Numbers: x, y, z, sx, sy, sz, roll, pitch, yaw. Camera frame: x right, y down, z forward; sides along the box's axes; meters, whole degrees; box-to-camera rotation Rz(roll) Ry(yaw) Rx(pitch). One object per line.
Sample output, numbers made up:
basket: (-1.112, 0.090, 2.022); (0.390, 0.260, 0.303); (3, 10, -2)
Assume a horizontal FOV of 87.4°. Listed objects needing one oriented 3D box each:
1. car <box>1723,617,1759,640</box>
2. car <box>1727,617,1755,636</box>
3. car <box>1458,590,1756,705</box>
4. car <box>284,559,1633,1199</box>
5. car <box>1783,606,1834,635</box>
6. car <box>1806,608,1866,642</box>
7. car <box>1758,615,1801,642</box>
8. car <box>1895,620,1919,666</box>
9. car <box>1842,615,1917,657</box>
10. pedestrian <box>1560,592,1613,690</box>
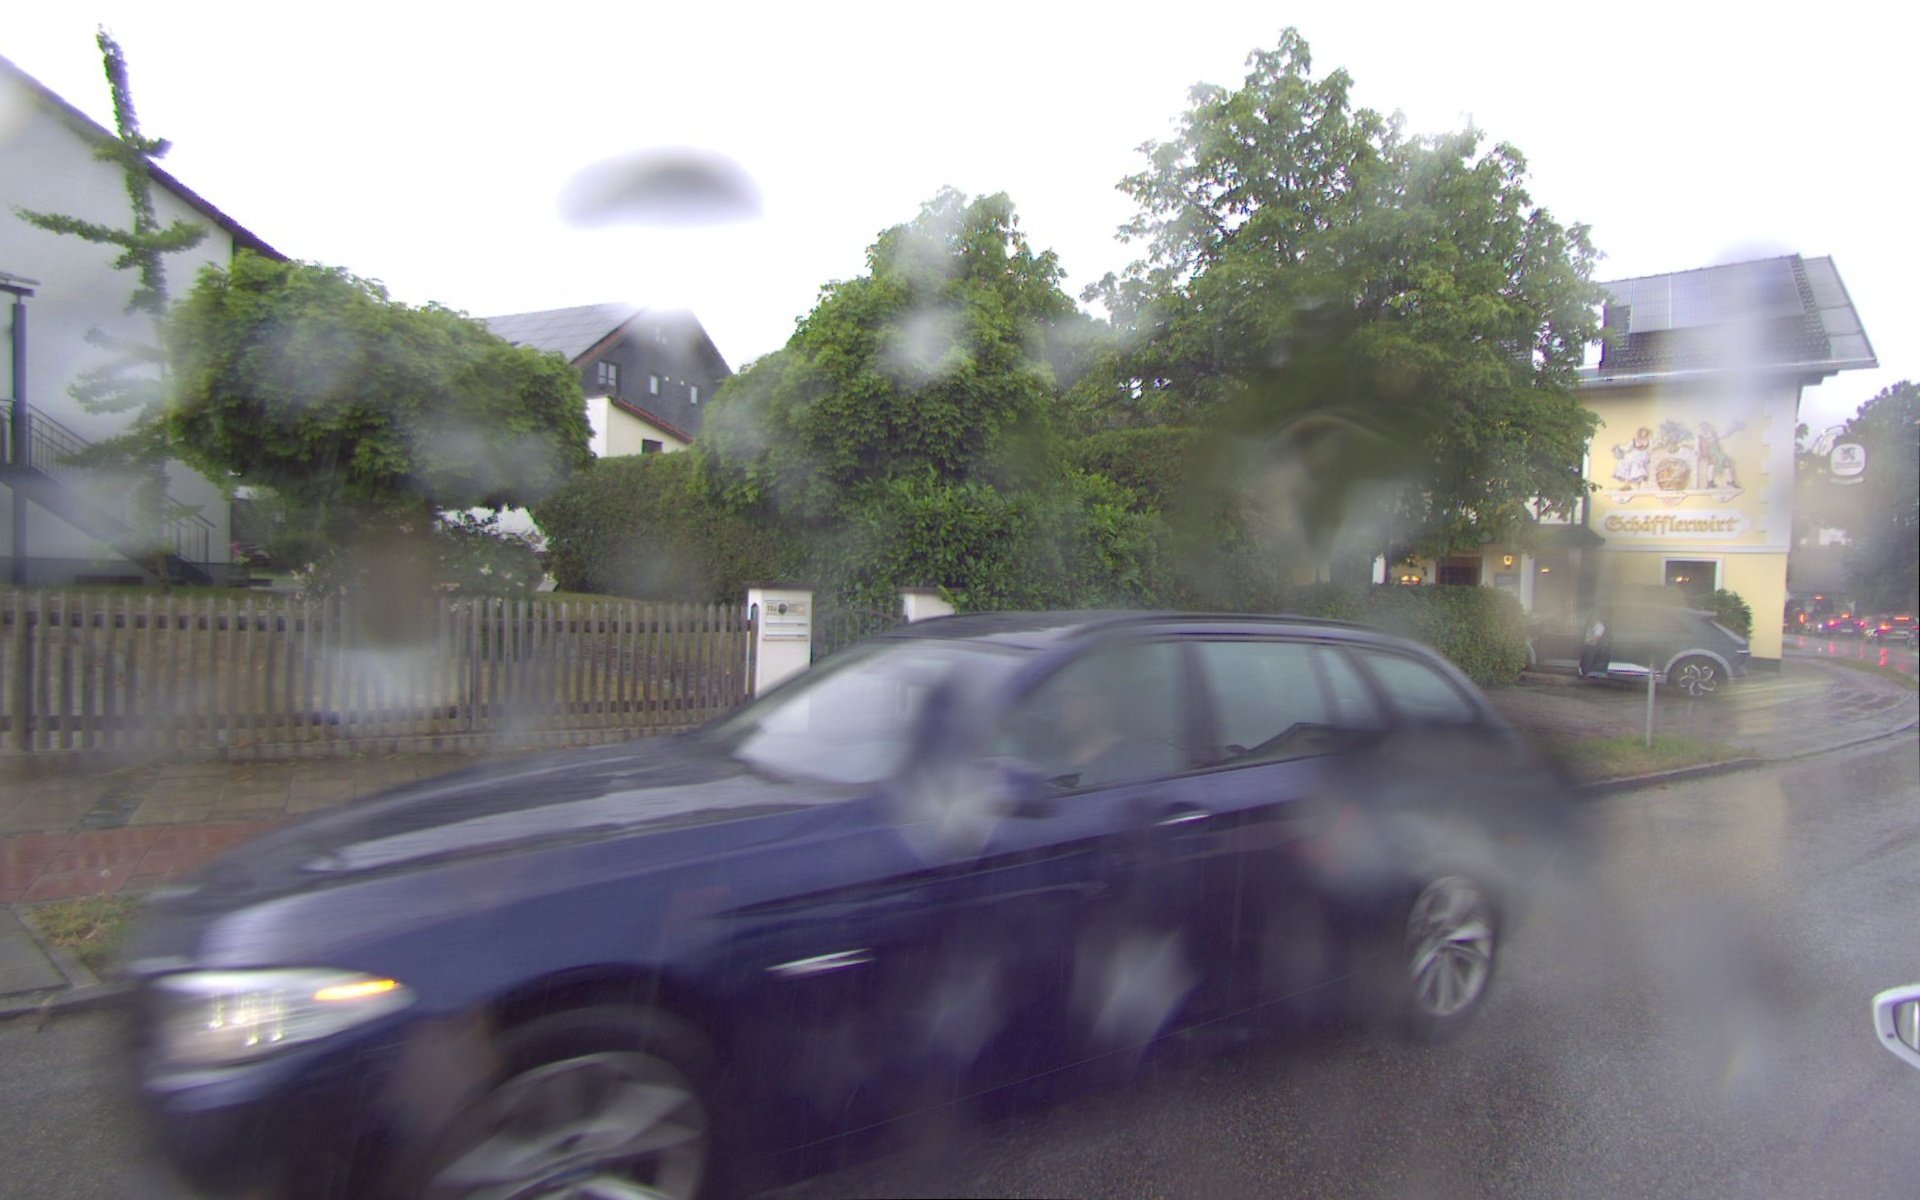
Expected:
car: (61.318, 2.225, 78.900); (1.896, 1.767, 4.181); (0, -1, 33)
car: (91.037, 3.083, 117.094); (2.139, 1.925, 4.999); (3, 2, 33)
car: (11.997, 0.786, 18.945); (4.413, 1.589, 1.834); (6, 5, 32)
car: (0.294, 0.703, 3.543); (4.325, 1.485, 1.771); (2, 1, -31)
car: (61.997, 1.440, 73.472); (2.139, 1.925, 4.999); (3, 2, 33)
car: (55.669, 1.565, 63.905); (2.139, 1.925, 4.999); (3, 2, 33)
car: (67.541, 2.326, 82.857); (2.139, 1.925, 4.999); (3, 2, 33)
car: (44.590, 2.003, 45.701); (2.139, 1.925, 4.999); (3, 2, 33)
car: (49.472, 1.885, 54.142); (2.139, 1.925, 4.999); (3, 2, 33)
pedestrian: (11.295, 0.738, 18.105); (0.547, 1.712, 0.488); (2, 4, -30)
